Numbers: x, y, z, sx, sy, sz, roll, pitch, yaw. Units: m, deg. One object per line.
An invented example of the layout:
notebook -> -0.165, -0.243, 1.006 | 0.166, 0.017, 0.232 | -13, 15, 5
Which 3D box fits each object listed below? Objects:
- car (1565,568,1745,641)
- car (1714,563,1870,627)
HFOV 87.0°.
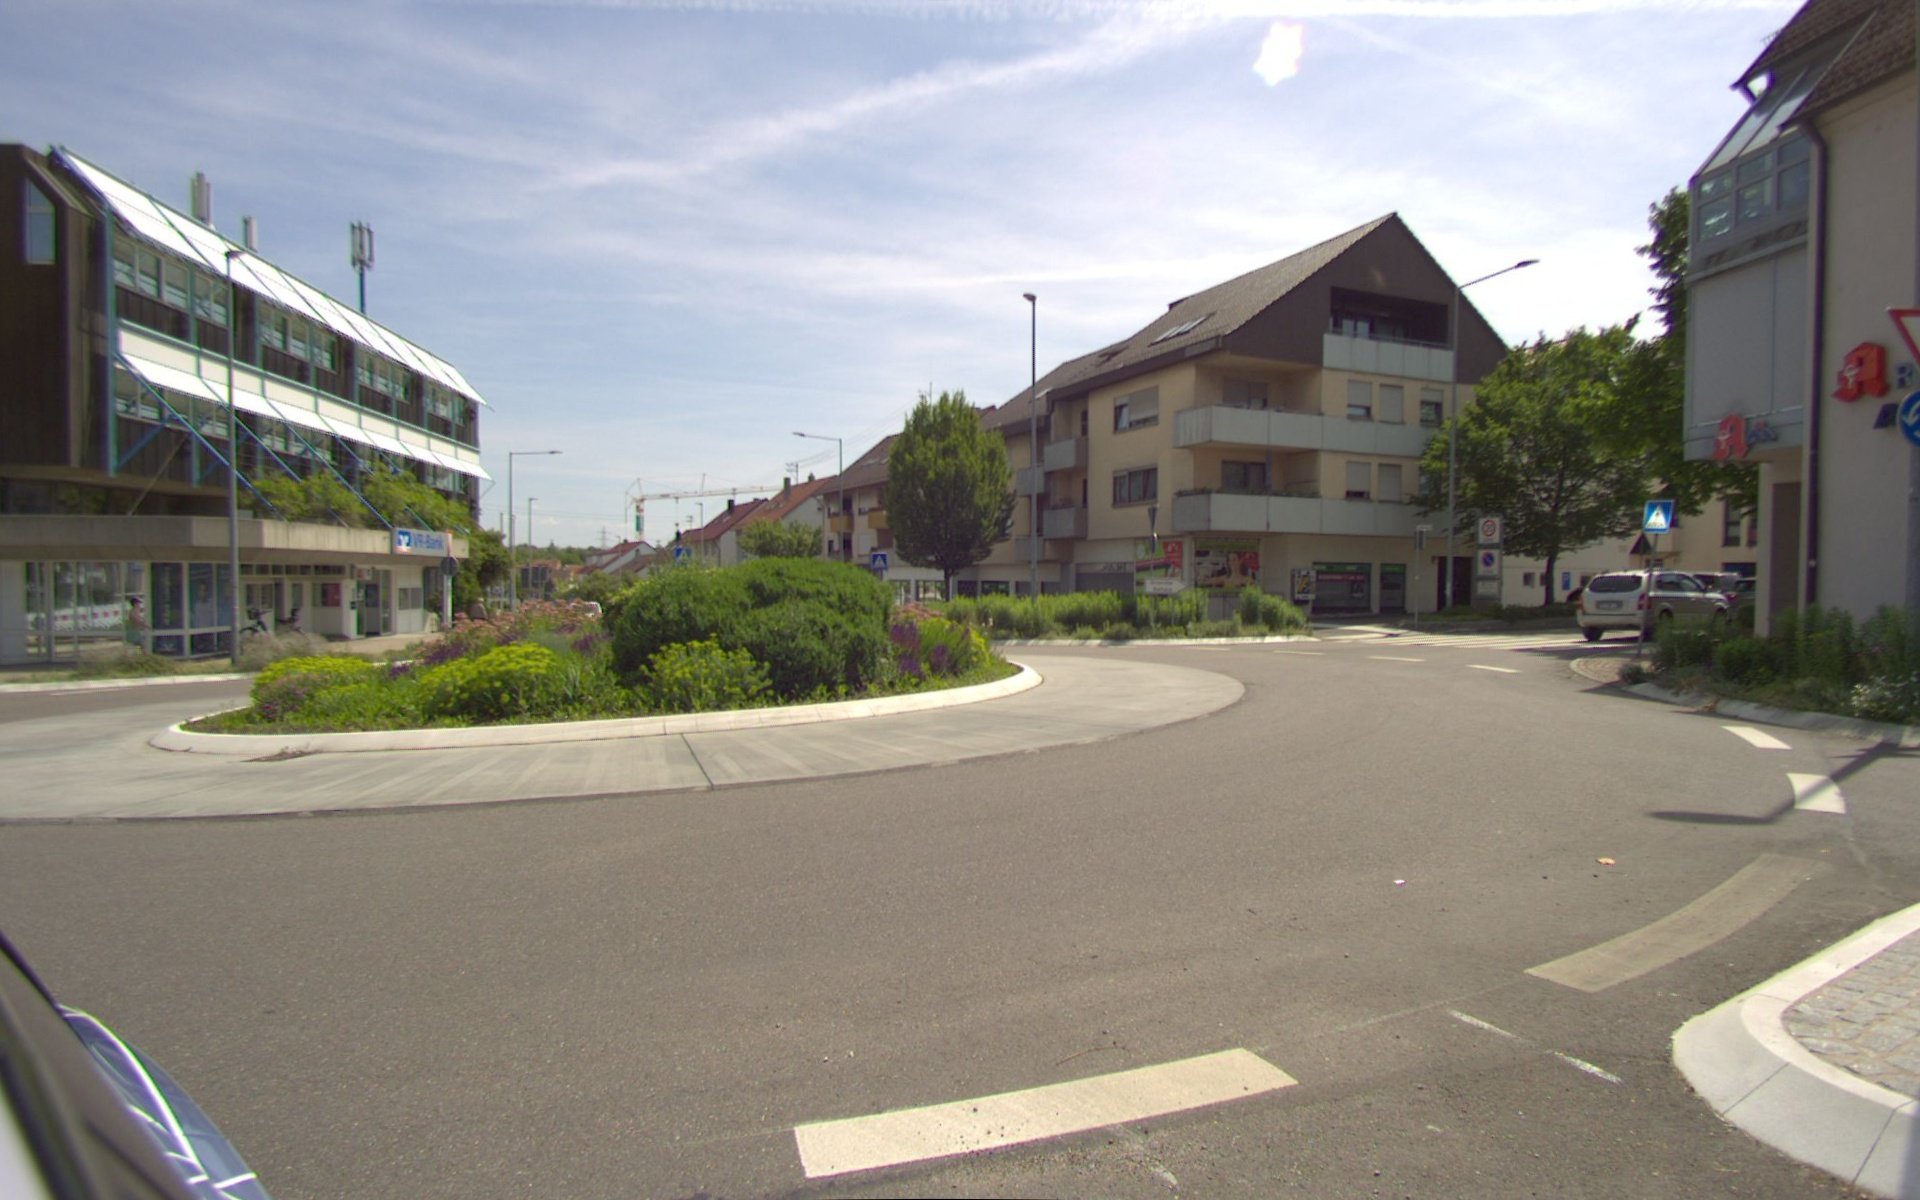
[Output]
car -> 16.886, 0.078, 24.561 | 4.150, 1.640, 1.981 | -1, 0, -30
car -> 23.129, -0.138, 28.114 | 4.150, 1.640, 1.981 | -2, 0, -30
